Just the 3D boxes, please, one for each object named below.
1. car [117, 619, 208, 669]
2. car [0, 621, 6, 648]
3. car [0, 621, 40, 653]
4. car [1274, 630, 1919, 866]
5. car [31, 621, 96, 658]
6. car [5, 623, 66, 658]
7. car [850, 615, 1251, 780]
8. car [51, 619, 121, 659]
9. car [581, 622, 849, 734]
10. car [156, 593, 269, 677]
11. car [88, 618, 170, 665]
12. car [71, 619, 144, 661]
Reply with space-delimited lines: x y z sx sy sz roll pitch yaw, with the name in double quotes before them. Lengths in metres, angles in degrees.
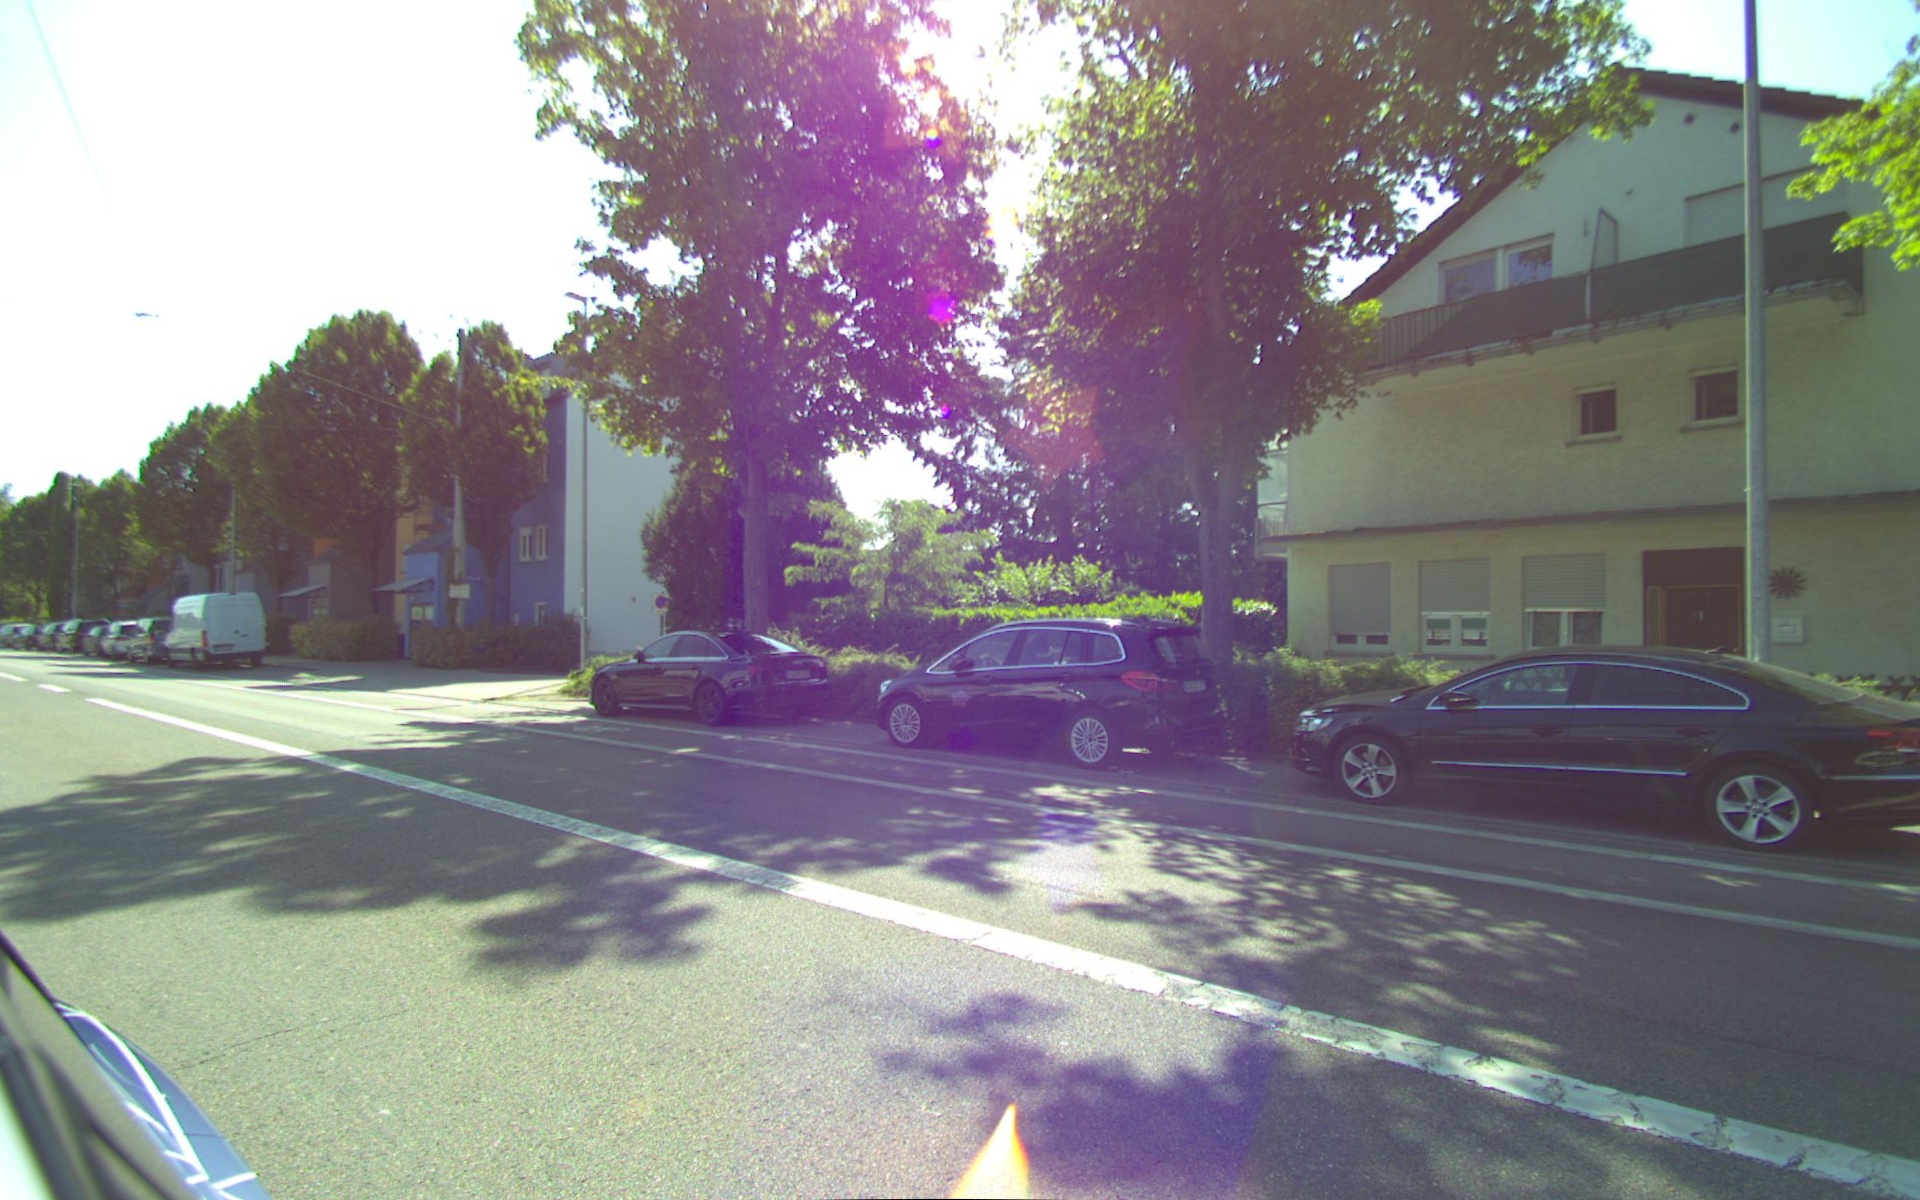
"car" -33.521 1.807 42.498 4.766 1.818 1.974 -2 4 41
"car" -68.798 2.528 71.120 4.766 1.818 1.974 -2 4 41
"car" -60.210 2.341 64.267 4.766 1.818 1.974 -2 4 41
"car" 5.219 1.004 8.427 4.619 1.426 1.844 -1 0 41
"car" -50.230 2.187 56.676 4.766 1.818 1.974 -2 4 41
"car" -54.907 2.371 60.097 4.766 1.818 1.974 -2 4 41
"car" 0.927 1.017 12.235 4.619 1.583 1.844 -1 0 41
"car" -45.841 2.033 53.042 4.766 1.818 1.974 -2 4 41
"car" -4.087 1.155 16.503 4.616 1.583 1.845 -1 -2 39
"car" -27.375 1.236 36.948 6.213 2.713 1.973 -2 4 43
"car" -38.058 1.872 46.315 4.766 1.818 1.974 -2 4 41
"car" -42.127 1.959 49.990 4.254 1.818 1.974 -2 4 41
